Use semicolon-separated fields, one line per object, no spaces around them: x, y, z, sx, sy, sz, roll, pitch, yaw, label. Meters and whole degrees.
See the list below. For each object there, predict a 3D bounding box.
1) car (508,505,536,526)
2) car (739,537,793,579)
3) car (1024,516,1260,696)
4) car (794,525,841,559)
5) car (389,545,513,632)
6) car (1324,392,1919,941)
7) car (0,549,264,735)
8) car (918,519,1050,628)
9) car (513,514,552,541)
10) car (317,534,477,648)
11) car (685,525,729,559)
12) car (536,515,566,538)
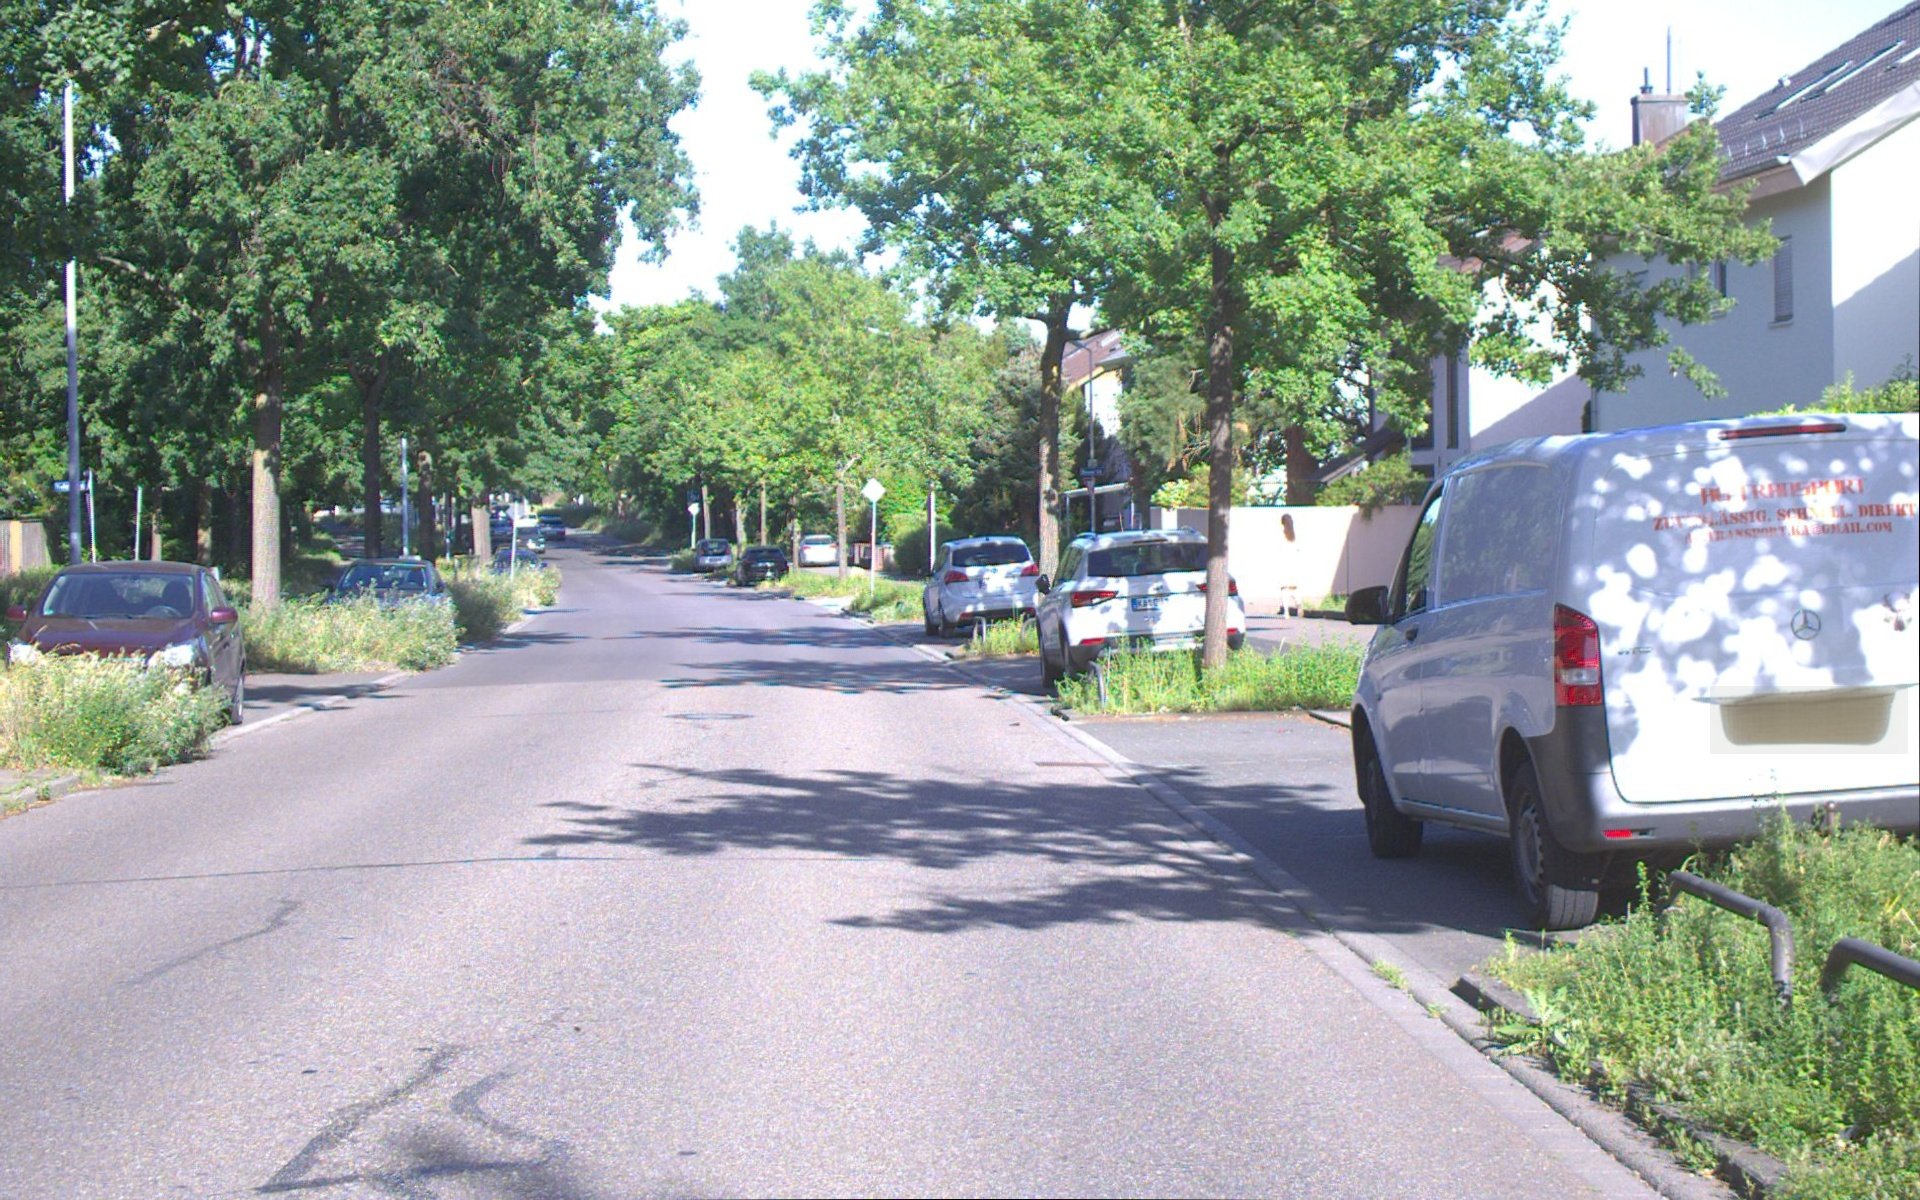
-30.337;-5.853;238.284;1.754;1.449;4.001;-1;1;-4;car
-7.146;-1.556;126.416;1.933;1.537;4.001;-1;1;-3;car
1.780;0.019;34.884;1.935;1.698;4.001;-1;1;-3;car
-6.326;-2.584;152.404;1.933;1.449;4.001;-1;1;-4;car
-9.013;-0.222;61.061;1.796;1.474;3.520;-1;1;-2;car
2.876;0.194;14.775;1.835;1.964;4.759;-1;1;-3;car
-7.261;0.313;29.825;1.935;1.474;4.001;-1;1;-5;car
0.361;-0.471;57.395;1.933;1.736;4.001;-1;1;-3;car
-23.550;-3.970;189.608;1.933;1.449;4.001;-1;1;-4;car
-7.991;-0.154;49.079;1.993;1.551;4.001;0;1;-6;car
-11.412;-2.612;154.699;1.933;1.449;4.001;-1;1;-4;car
-25.995;-4.682;218.594;1.754;1.449;4.001;-1;1;-4;car
